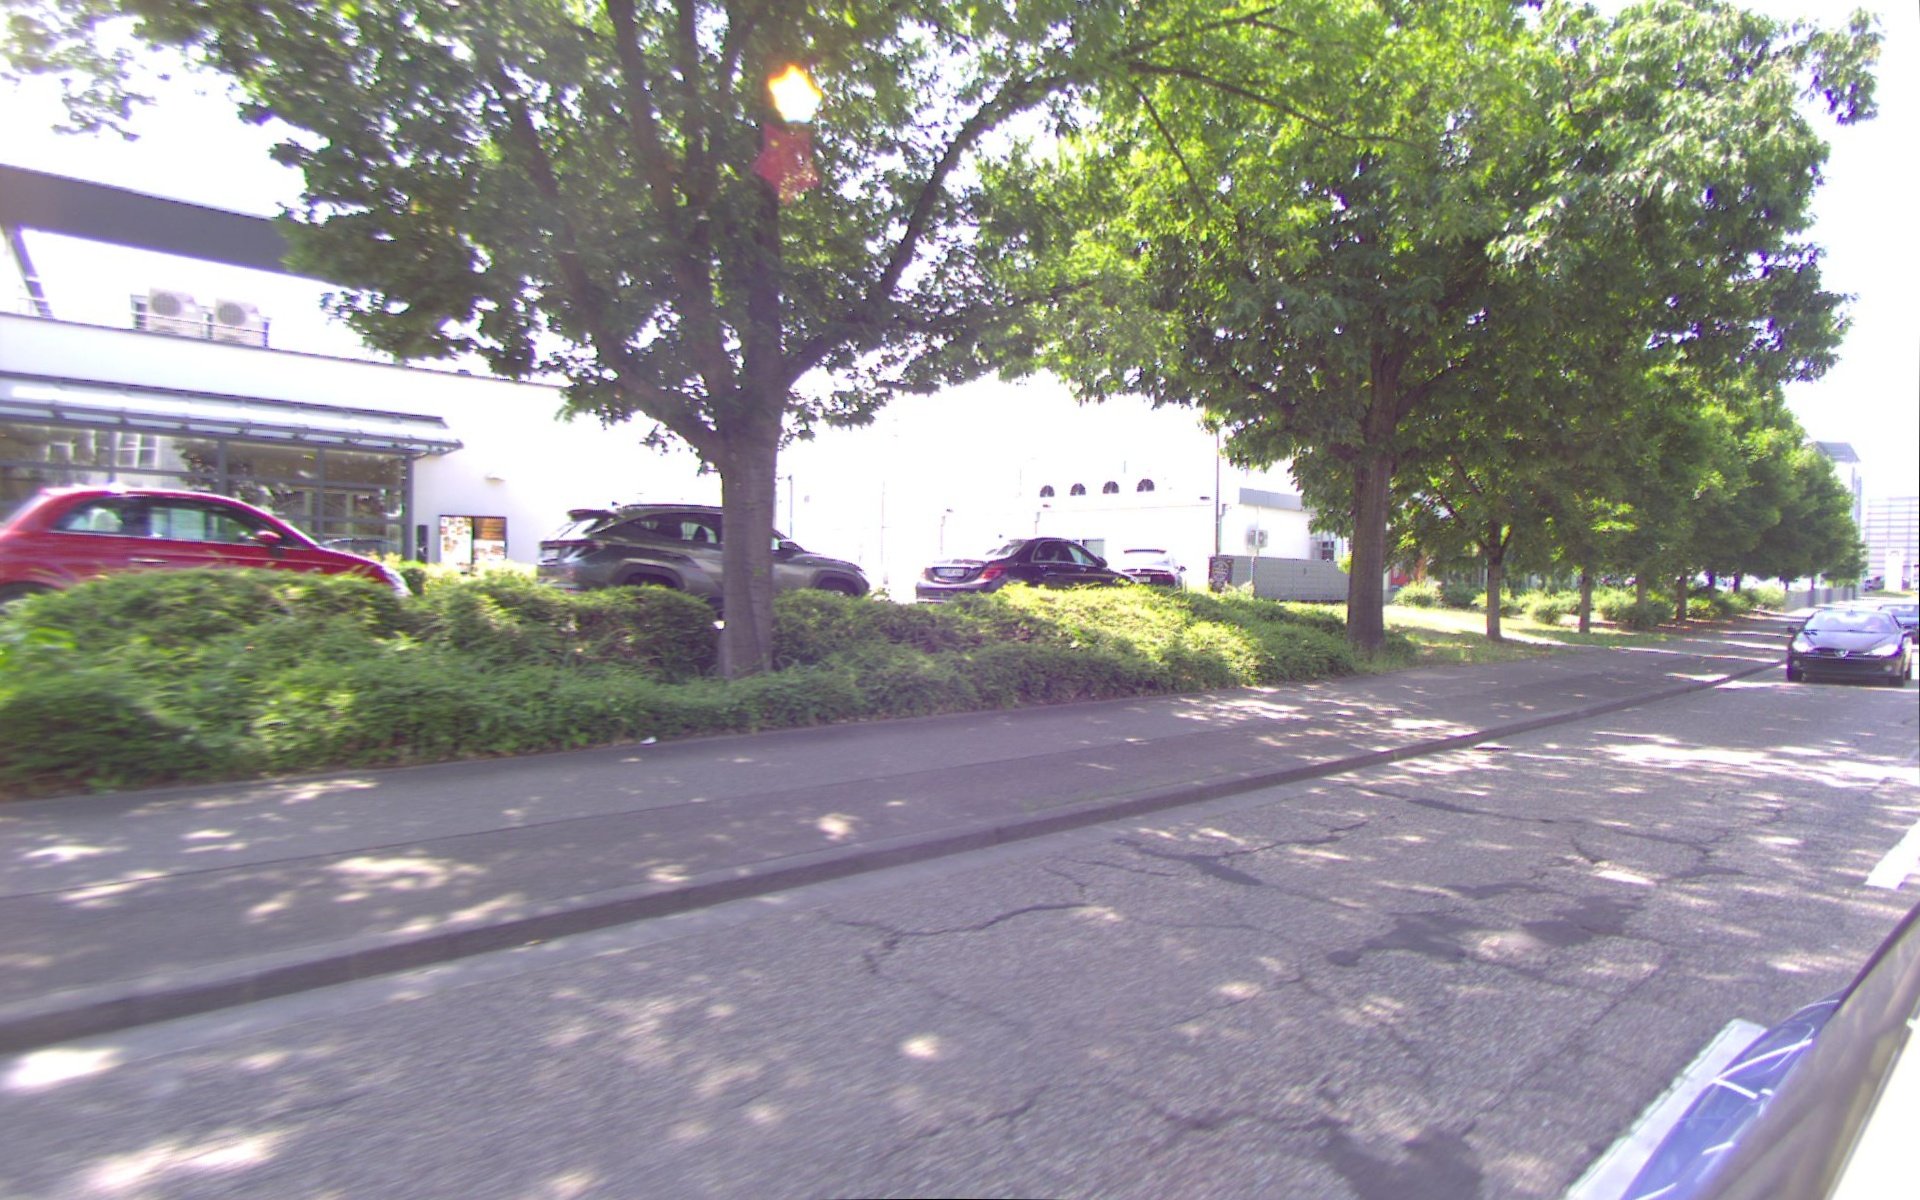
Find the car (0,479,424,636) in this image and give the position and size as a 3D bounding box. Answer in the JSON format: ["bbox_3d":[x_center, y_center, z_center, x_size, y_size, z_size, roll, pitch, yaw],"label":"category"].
[{"bbox_3d":[-7.350,-0.377,9.642,3.699,1.268,1.621,-1,1,-42],"label":"car"}]

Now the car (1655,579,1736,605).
[{"bbox_3d":[47.083,-0.512,64.818,3.986,1.616,1.799,0,1,43],"label":"car"}]

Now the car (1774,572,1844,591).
[{"bbox_3d":[75.153,-1.665,89.582,1.670,1.523,4.581,-1,2,-44],"label":"car"}]

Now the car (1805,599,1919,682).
[{"bbox_3d":[17.285,0.700,19.269,1.637,1.373,3.445,1,2,43],"label":"car"}]

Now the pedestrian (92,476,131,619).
[{"bbox_3d":[-11.900,-0.729,14.203,0.401,1.945,0.583,0,2,-40],"label":"pedestrian"}]

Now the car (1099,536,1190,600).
[{"bbox_3d":[4.609,-0.784,24.720,1.924,1.368,4.697,2,2,13],"label":"car"}]

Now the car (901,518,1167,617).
[{"bbox_3d":[1.507,-0.539,17.791,1.902,1.469,5.523,1,1,39],"label":"car"}]

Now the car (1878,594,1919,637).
[{"bbox_3d":[32.900,0.509,34.862,1.708,1.340,3.892,3,3,45],"label":"car"}]

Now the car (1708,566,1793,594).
[{"bbox_3d":[57.224,-1.466,73.319,1.796,1.948,4.623,0,2,-43],"label":"car"}]

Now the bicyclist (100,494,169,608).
[{"bbox_3d":[-13.751,-0.804,16.856,0.849,1.826,0.779,0,2,-42],"label":"bicyclist"}]

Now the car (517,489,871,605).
[{"bbox_3d":[-3.316,-0.614,13.073,4.124,1.269,1.622,-1,0,-39],"label":"car"}]
